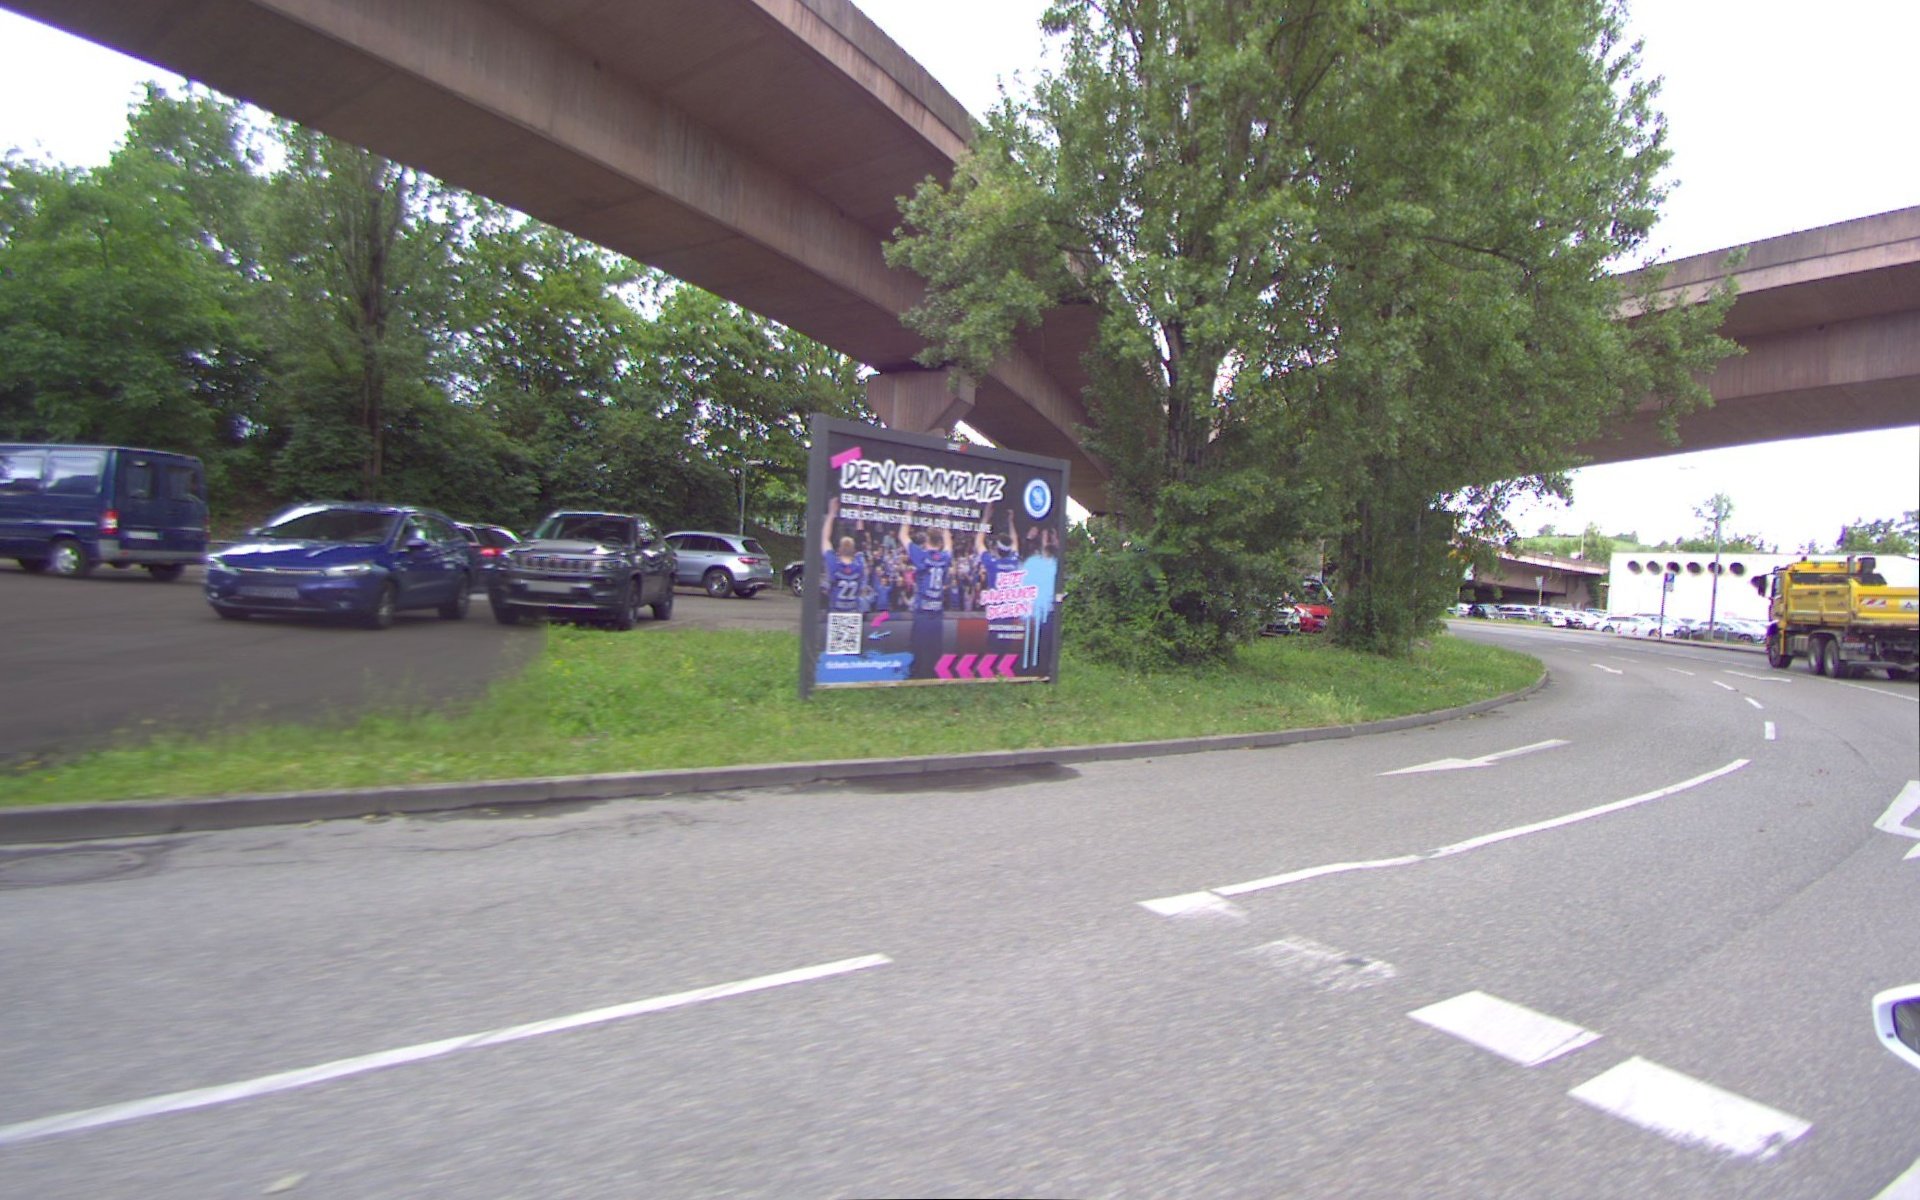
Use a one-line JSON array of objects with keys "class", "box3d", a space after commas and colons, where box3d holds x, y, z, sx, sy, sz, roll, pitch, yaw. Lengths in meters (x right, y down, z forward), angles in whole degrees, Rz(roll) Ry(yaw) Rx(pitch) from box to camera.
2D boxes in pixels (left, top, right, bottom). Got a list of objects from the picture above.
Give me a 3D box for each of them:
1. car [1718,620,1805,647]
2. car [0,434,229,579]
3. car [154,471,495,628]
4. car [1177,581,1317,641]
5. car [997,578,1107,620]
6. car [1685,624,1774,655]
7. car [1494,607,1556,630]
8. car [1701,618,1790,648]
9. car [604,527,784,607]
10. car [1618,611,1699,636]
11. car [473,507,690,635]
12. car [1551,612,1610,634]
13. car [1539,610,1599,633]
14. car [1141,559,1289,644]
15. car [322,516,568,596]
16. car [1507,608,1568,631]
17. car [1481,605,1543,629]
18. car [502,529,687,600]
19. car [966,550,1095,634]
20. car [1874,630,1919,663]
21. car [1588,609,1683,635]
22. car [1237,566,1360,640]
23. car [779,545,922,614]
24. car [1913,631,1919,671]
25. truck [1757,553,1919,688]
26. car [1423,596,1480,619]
[{"class": "car", "box3d": [51.758, 2.154, 64.908, 1.978, 1.461, 3.965, 3, -1, -32]}, {"class": "car", "box3d": [-16.264, -1.666, 18.108, 4.916, 2.284, 2.126, 3, 0, 11]}, {"class": "car", "box3d": [-7.641, -0.521, 12.766, 2.041, 1.508, 4.842, 3, 0, -12]}, {"class": "car", "box3d": [8.058, 0.298, 28.730, 2.083, 1.462, 4.786, 3, 0, -8]}, {"class": "car", "box3d": [3.279, -0.022, 36.027, 3.620, 1.373, 1.660, 1, 0, -8]}, {"class": "car", "box3d": [47.081, 2.416, 61.532, 1.671, 1.661, 3.964, 3, -1, -32]}, {"class": "car", "box3d": [44.606, 1.460, 79.331, 1.757, 1.654, 3.849, 3, -1, -31]}, {"class": "car", "box3d": [49.363, 2.056, 63.188, 1.979, 1.661, 3.963, 3, -1, -33]}, {"class": "car", "box3d": [-7.009, -0.808, 26.551, 4.215, 1.824, 1.848, -2, -2, 14]}, {"class": "car", "box3d": [46.644, 1.561, 67.126, 1.978, 1.461, 3.965, 3, -1, -32]}, {"class": "car", "box3d": [-5.396, -0.372, 14.988, 1.861, 1.532, 4.446, 3, 0, -6]}, {"class": "car", "box3d": [52.311, 1.901, 84.755, 1.757, 1.654, 3.849, 3, -1, -31]}, {"class": "car", "box3d": [50.412, 1.782, 83.260, 1.757, 1.654, 3.849, 3, -1, -31]}, {"class": "car", "box3d": [6.144, 0.048, 24.801, 1.979, 1.814, 4.394, 3, 0, -8]}, {"class": "car", "box3d": [-11.232, -0.953, 21.993, 4.552, 1.454, 2.001, 3, -1, 14]}, {"class": "car", "box3d": [46.539, 1.566, 80.960, 1.757, 1.654, 3.849, 3, -1, -31]}, {"class": "car", "box3d": [42.650, 1.311, 77.674, 1.758, 1.654, 3.847, 3, -1, -33]}, {"class": "car", "box3d": [-8.829, -0.849, 24.394, 3.809, 1.494, 1.795, 3, 0, 13]}, {"class": "car", "box3d": [1.380, -0.084, 21.453, 1.778, 1.503, 4.444, 1, -3, -9]}, {"class": "car", "box3d": [44.596, 2.180, 45.441, 1.965, 1.461, 4.449, 3, -1, -12]}, {"class": "car", "box3d": [44.392, 1.430, 66.136, 1.978, 1.461, 4.794, 3, -1, -31]}, {"class": "car", "box3d": [10.463, 0.045, 31.443, 1.962, 2.040, 4.446, 3, 1, -5]}, {"class": "car", "box3d": [-3.350, -0.671, 31.042, 4.000, 1.735, 1.659, 5, 4, 8]}, {"class": "car", "box3d": [47.309, 2.502, 46.395, 1.971, 1.881, 4.306, 3, -1, -22]}, {"class": "truck", "box3d": [26.775, 0.593, 30.090, 2.882, 3.528, 8.235, 0, -1, 27]}, {"class": "car", "box3d": [40.254, 0.611, 82.384, 1.757, 1.654, 3.849, 3, -1, -31]}]
